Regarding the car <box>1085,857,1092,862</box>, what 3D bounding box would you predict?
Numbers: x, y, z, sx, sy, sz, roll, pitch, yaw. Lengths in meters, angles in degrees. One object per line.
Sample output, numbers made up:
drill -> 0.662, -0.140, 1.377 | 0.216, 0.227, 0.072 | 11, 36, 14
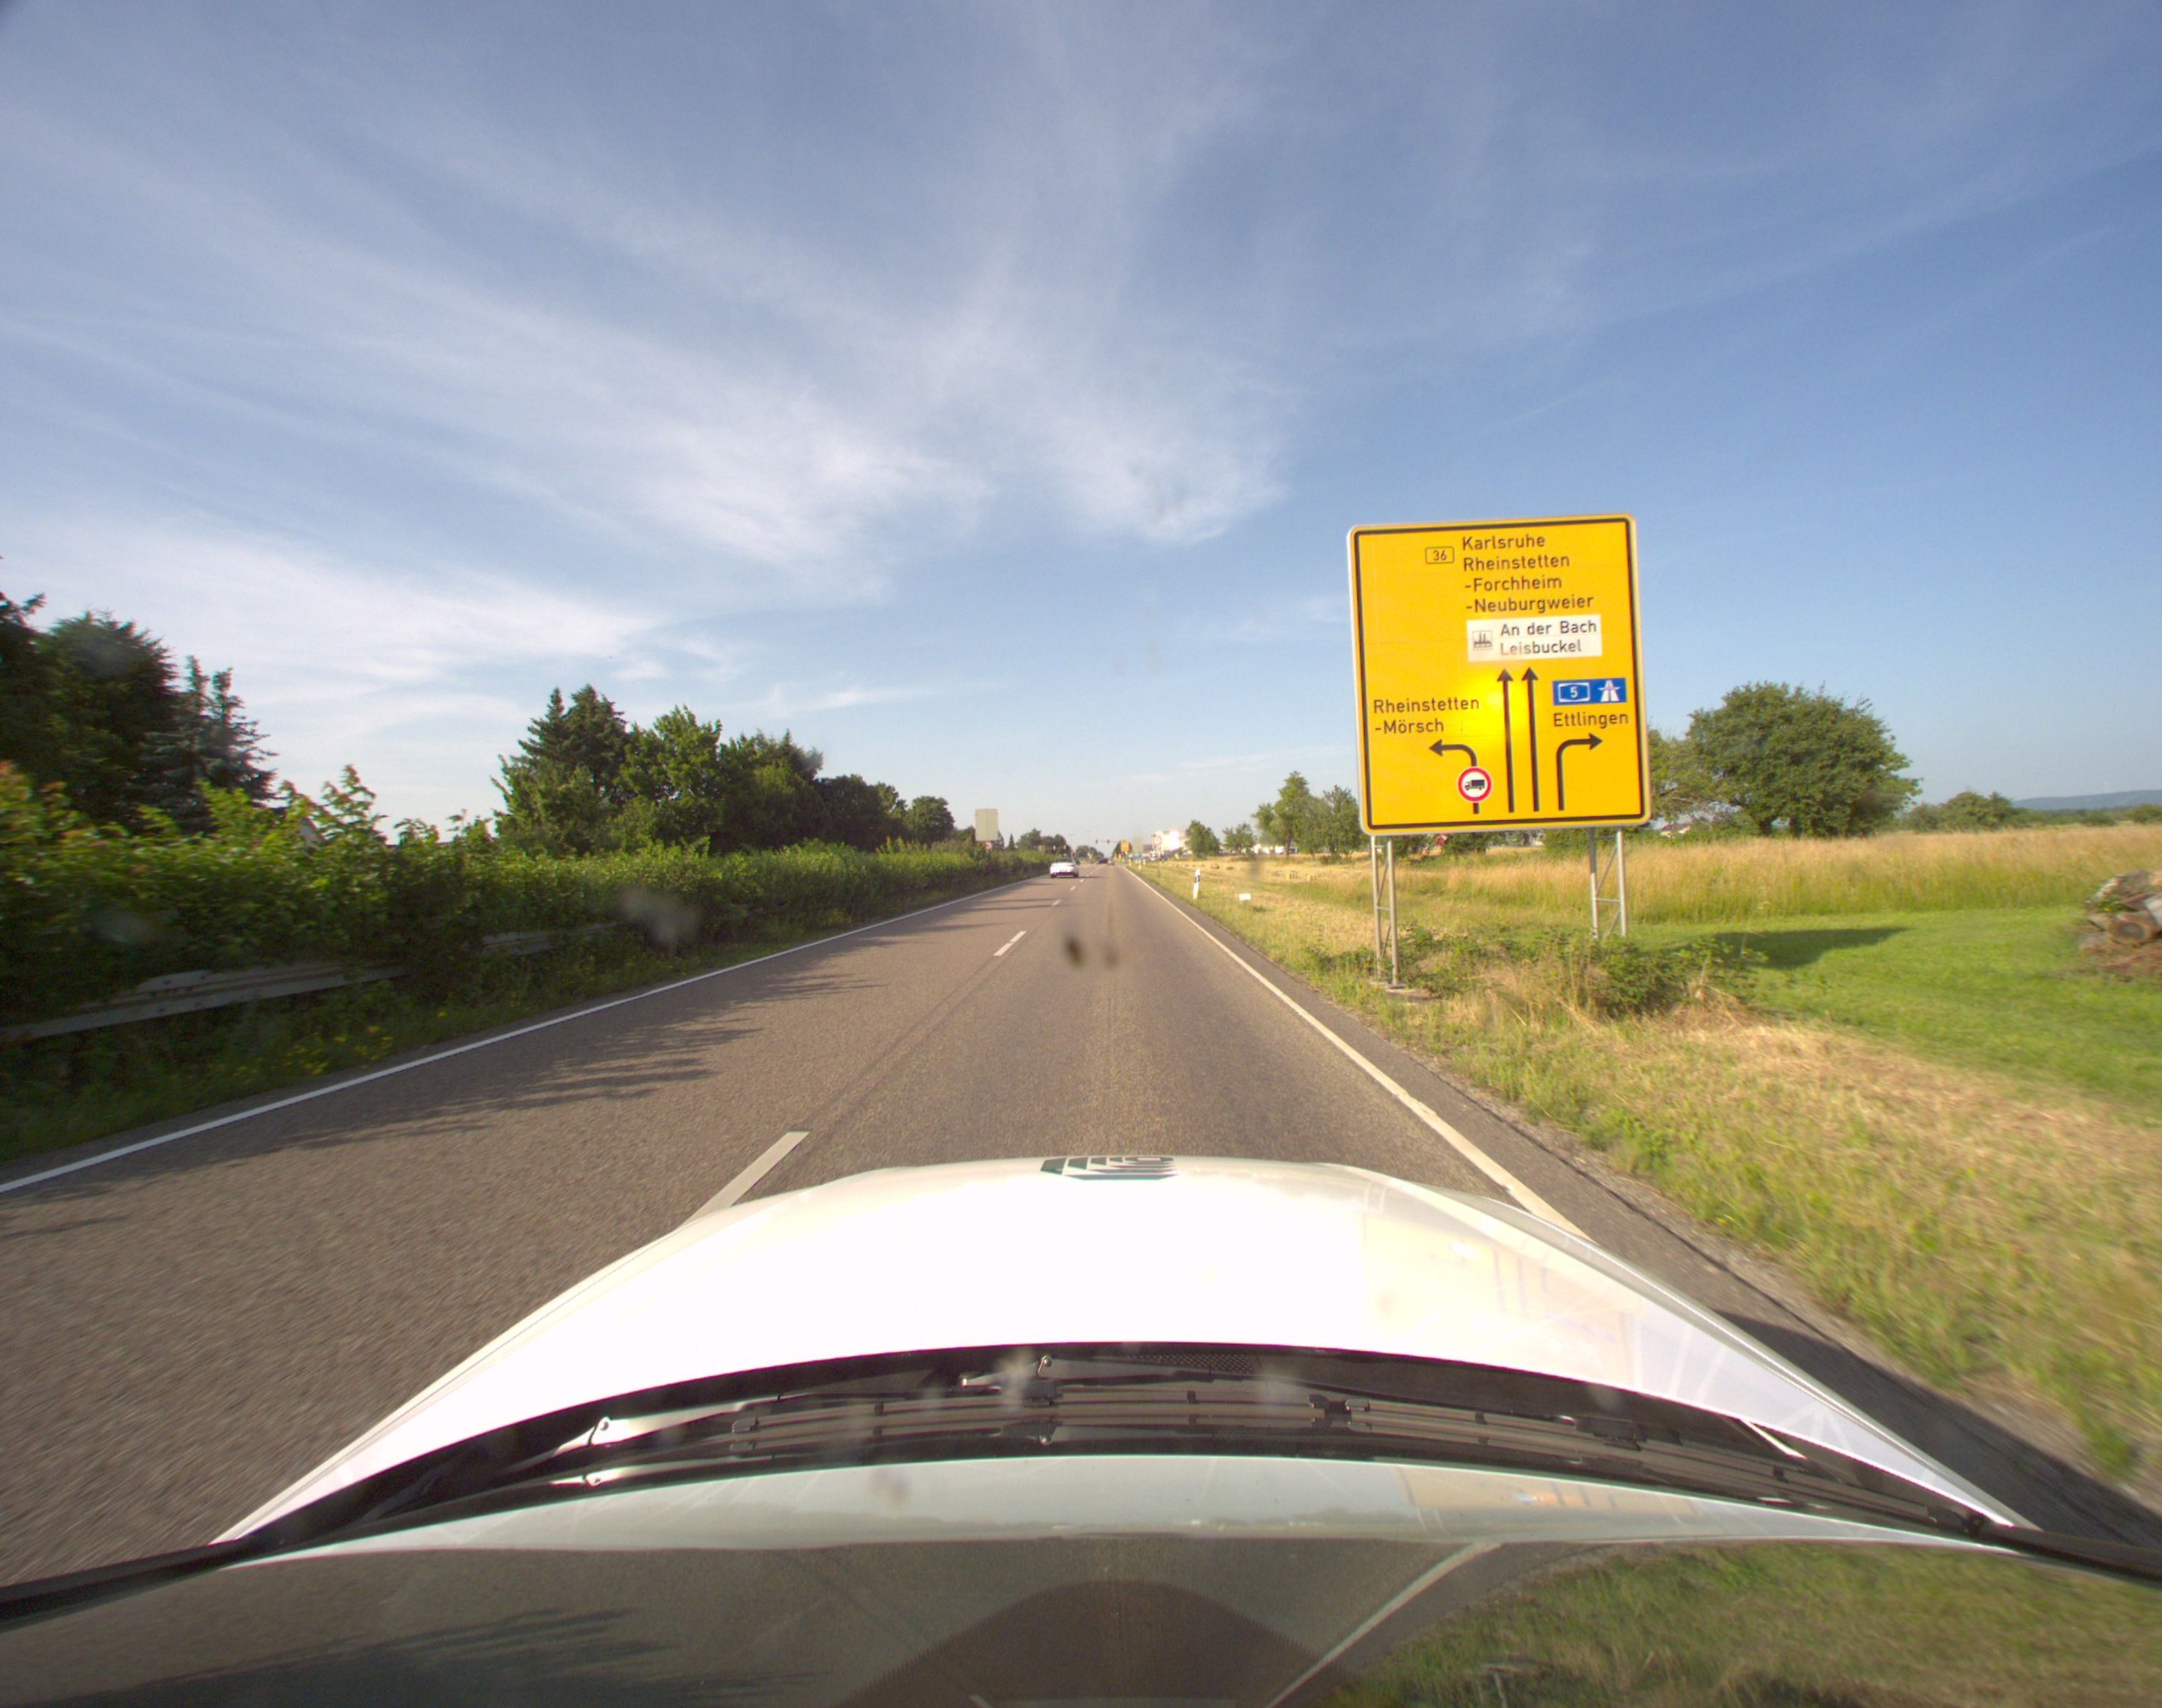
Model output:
car -> 2.345, 1.703, 252.658 | 1.940, 1.408, 4.003 | -1, 0, 3

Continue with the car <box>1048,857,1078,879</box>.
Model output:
car -> -1.224, 0.958, 57.752 | 1.903, 1.422, 4.001 | -1, 0, 1

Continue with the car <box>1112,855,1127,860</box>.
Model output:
car -> 11.322, 1.125, 240.742 | 3.998, 1.408, 1.942 | -1, 0, -18

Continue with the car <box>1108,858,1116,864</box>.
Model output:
car -> 7.906, 1.676, 209.923 | 1.986, 1.486, 4.001 | -1, 0, 1
